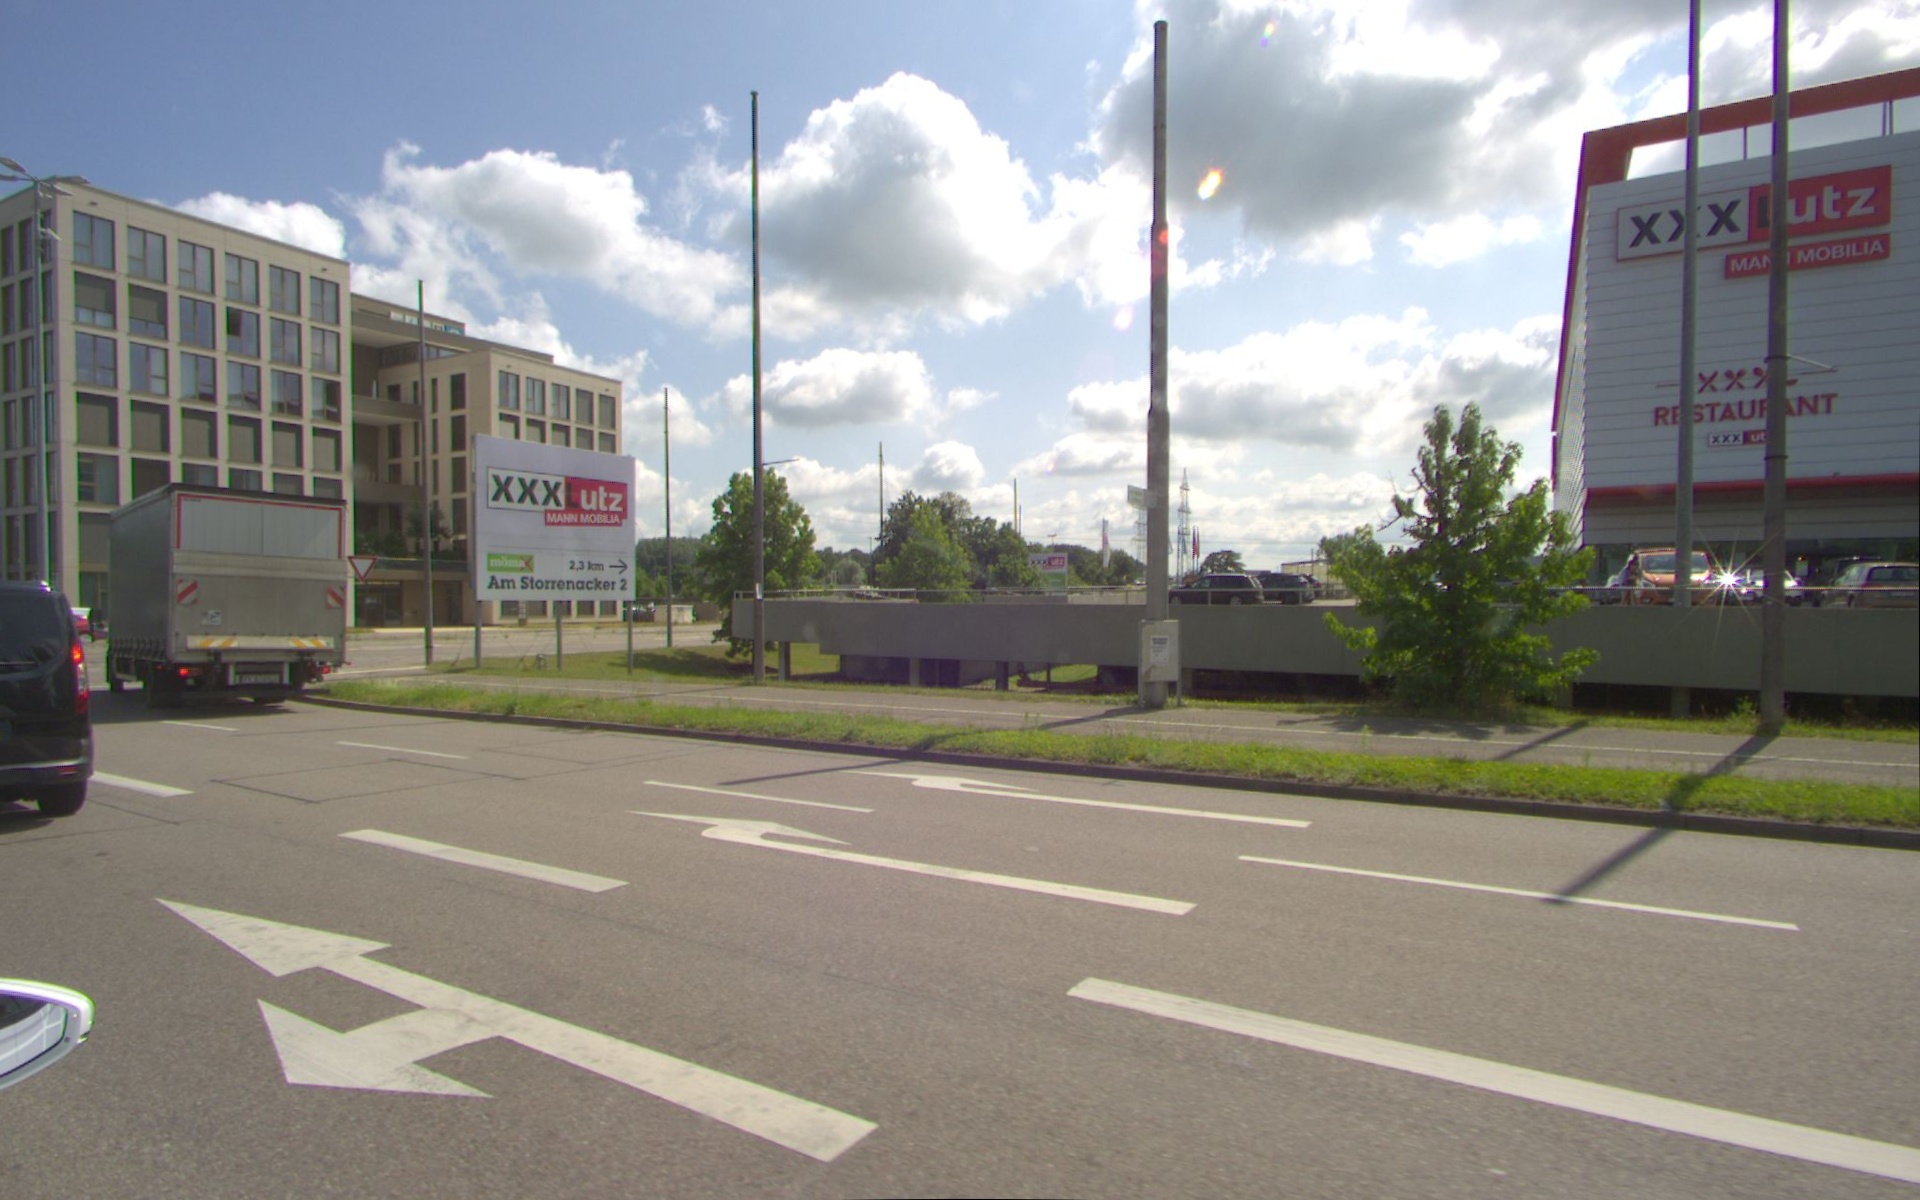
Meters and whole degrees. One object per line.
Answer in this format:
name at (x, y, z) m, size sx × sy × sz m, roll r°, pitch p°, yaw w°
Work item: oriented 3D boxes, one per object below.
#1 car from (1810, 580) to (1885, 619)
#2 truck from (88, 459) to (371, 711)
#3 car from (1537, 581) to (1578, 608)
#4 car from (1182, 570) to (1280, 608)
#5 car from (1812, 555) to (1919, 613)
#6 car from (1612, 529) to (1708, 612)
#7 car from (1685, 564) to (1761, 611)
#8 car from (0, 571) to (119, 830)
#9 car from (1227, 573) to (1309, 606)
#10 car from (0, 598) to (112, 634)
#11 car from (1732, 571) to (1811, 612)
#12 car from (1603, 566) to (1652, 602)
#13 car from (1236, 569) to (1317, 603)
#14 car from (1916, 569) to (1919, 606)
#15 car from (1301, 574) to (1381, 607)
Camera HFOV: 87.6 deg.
car at (35.414, -0.004, 40.047) m, size 1.561 × 1.484 × 3.521 m, roll 1°, pitch -1°, yaw 31°
truck at (-14.903, -0.205, 20.058) m, size 8.763 × 3.992 × 3.112 m, roll 0°, pitch -1°, yaw 44°
car at (29.461, -0.240, 49.368) m, size 1.671 × 1.199 × 3.890 m, roll 1°, pitch -1°, yaw 32°
car at (11.744, -0.474, 43.397) m, size 3.807 × 1.541 × 1.869 m, roll 1°, pitch -1°, yaw 27°
car at (26.265, -0.383, 28.609) m, size 1.956 × 1.473 × 4.864 m, roll -1°, pitch -1°, yaw 28°
car at (21.602, -0.792, 31.084) m, size 1.957 × 2.223 × 5.156 m, roll -1°, pitch -2°, yaw 30°
car at (28.408, -0.428, 37.401) m, size 1.609 × 1.596 × 3.894 m, roll 1°, pitch -1°, yaw 28°
car at (-8.551, 0.720, 8.047) m, size 3.947 × 1.832 × 1.815 m, roll 0°, pitch -2°, yaw 36°
car at (16.075, -0.544, 52.294) m, size 3.807 × 1.621 × 1.742 m, roll 1°, pitch 0°, yaw 27°
car at (-43.704, 0.748, 47.481) m, size 1.970 × 1.628 × 4.977 m, roll 1°, pitch -1°, yaw 30°
car at (33.534, -0.304, 41.495) m, size 1.971 × 1.563 × 3.981 m, roll 1°, pitch -1°, yaw 31°
car at (29.181, -0.682, 43.862) m, size 1.561 × 1.429 × 3.521 m, roll 1°, pitch -1°, yaw 31°
car at (17.262, -0.748, 54.587) m, size 3.937 × 1.750 × 1.958 m, roll 1°, pitch -2°, yaw 28°
car at (38.401, -0.523, 38.412) m, size 1.611 × 1.461 × 3.891 m, roll 1°, pitch -1°, yaw 31°
car at (21.046, -0.521, 55.358) m, size 3.937 × 1.751 × 1.993 m, roll 1°, pitch -1°, yaw 28°
